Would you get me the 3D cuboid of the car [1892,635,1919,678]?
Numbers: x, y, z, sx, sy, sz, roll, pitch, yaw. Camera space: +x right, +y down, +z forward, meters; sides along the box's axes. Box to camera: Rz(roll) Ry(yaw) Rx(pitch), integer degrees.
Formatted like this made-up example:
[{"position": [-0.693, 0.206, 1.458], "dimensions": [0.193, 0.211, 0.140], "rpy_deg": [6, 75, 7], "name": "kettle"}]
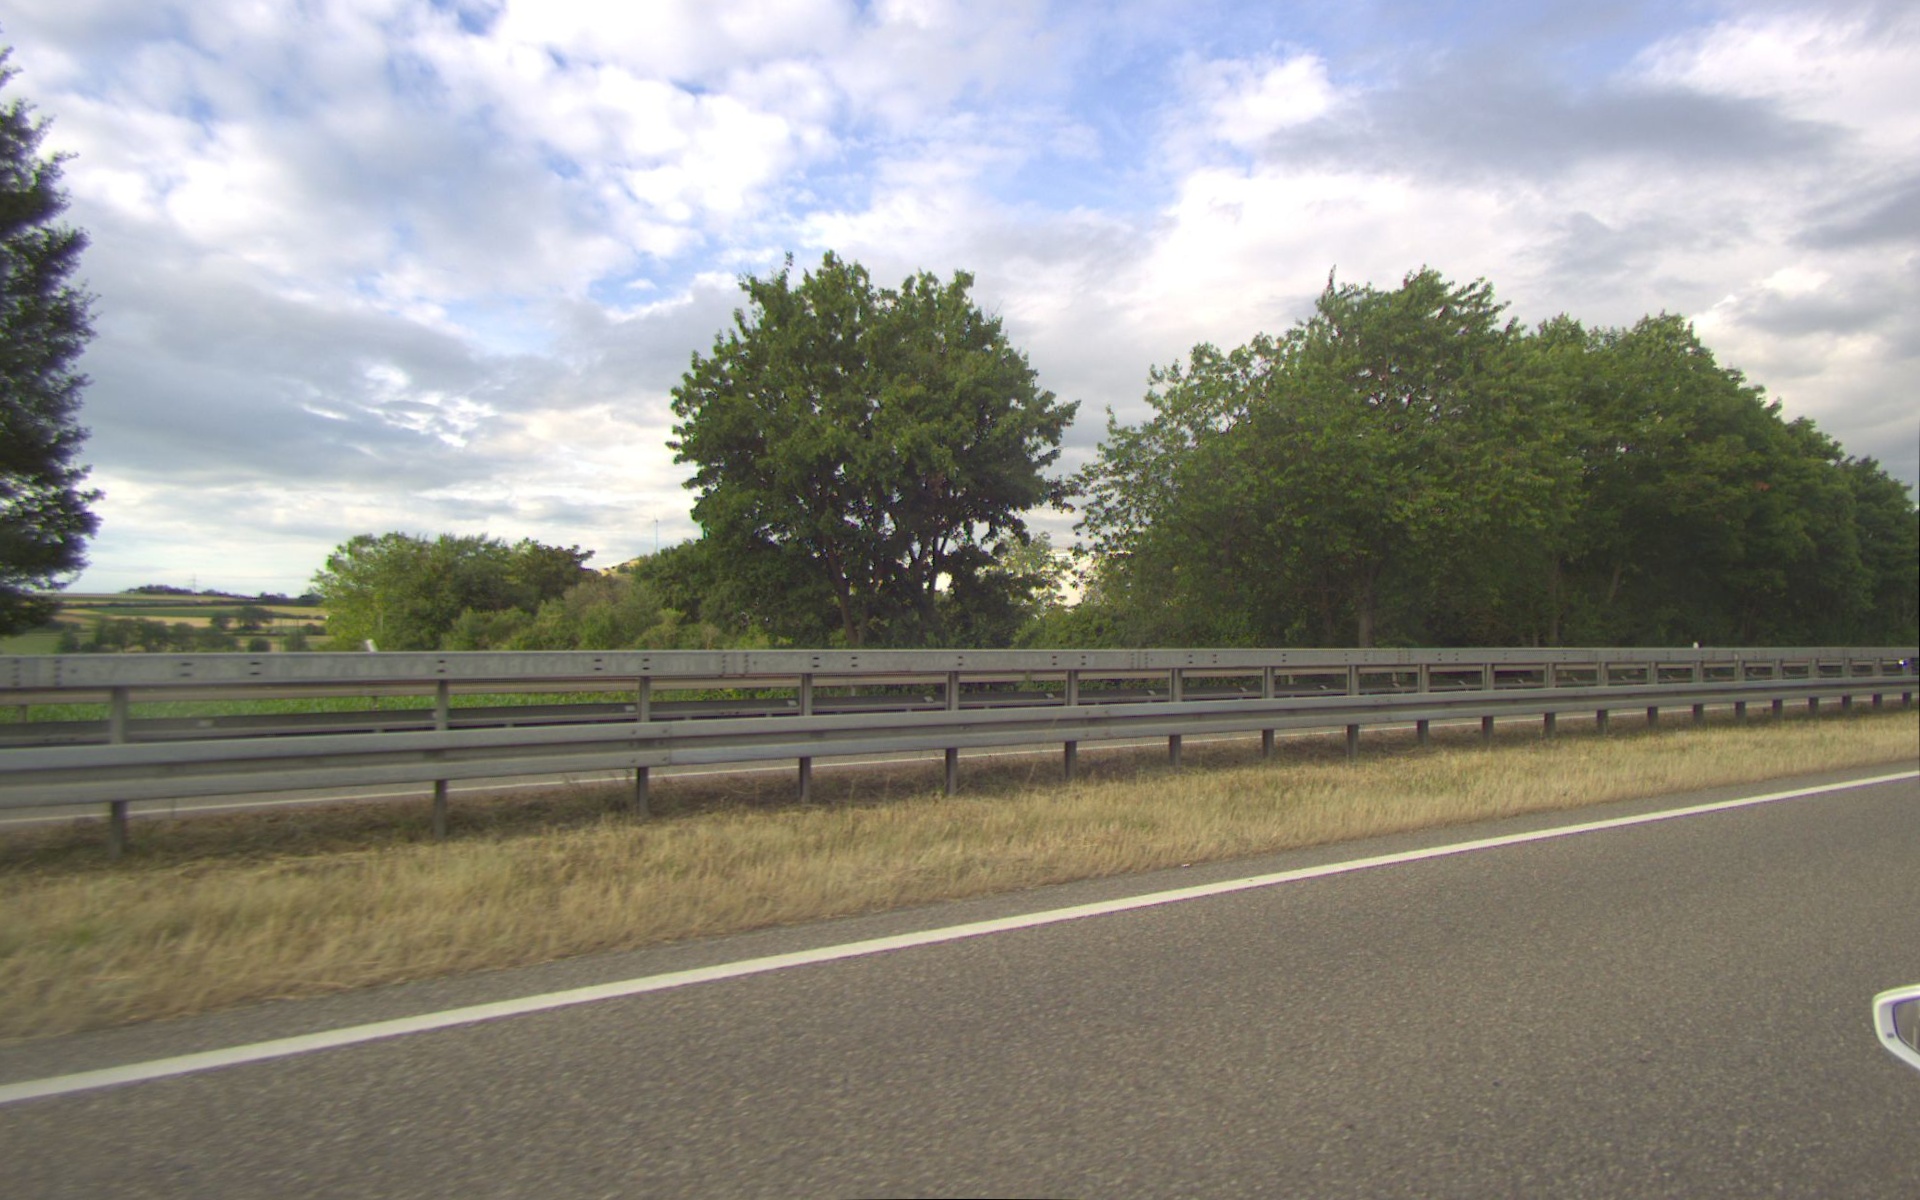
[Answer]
[{"position": [36.802, 2.103, 37.368], "dimensions": [4.532, 1.564, 1.817], "rpy_deg": [1, -2, -29], "name": "car"}]
